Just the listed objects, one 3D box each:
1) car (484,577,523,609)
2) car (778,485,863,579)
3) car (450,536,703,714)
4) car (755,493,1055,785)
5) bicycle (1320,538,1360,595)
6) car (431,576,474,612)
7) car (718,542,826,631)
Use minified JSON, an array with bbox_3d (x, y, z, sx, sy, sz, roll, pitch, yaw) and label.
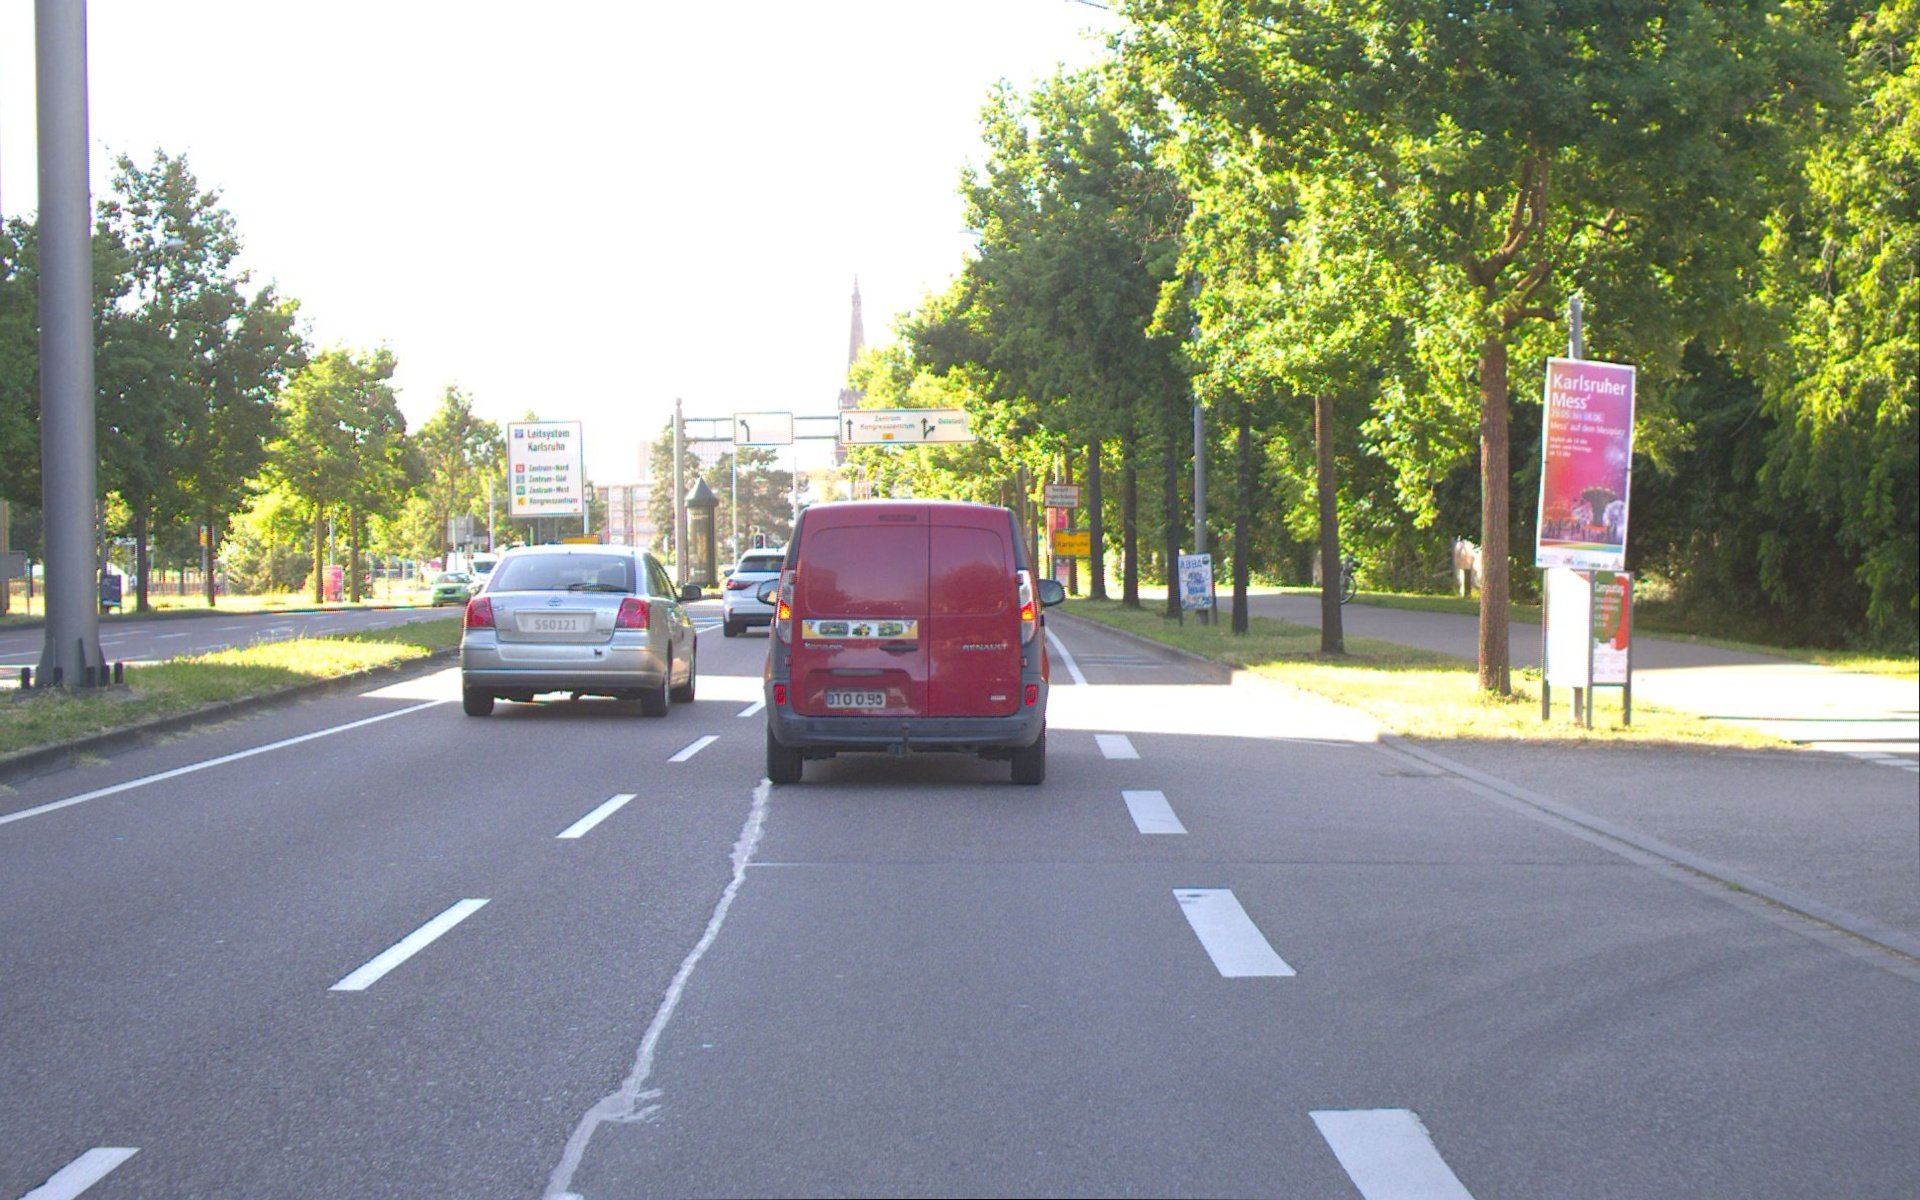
[{"bbox_3d":[-22.451,-0.349,169.085,1.550,1.503,4.027,-1,1,-3],"label":"car"},{"bbox_3d":[-2.836,-1.375,70.148,1.661,1.850,3.559,-1,1,-2],"label":"car"},{"bbox_3d":[-3.297,0.172,30.262,1.841,1.451,4.163,0,1,-1],"label":"car"},{"bbox_3d":[-0.396,0.206,22.778,1.806,1.753,4.006,0,1,-2],"label":"car"},{"bbox_3d":[7.672,-0.691,69.415,0.774,1.127,1.708,-1,1,6],"label":"bicycle"},{"bbox_3d":[-21.222,-0.263,143.789,1.446,1.431,3.460,-1,1,-3],"label":"car"},{"bbox_3d":[-3.040,-0.242,56.212,1.661,1.393,3.559,-1,1,-2],"label":"car"}]
